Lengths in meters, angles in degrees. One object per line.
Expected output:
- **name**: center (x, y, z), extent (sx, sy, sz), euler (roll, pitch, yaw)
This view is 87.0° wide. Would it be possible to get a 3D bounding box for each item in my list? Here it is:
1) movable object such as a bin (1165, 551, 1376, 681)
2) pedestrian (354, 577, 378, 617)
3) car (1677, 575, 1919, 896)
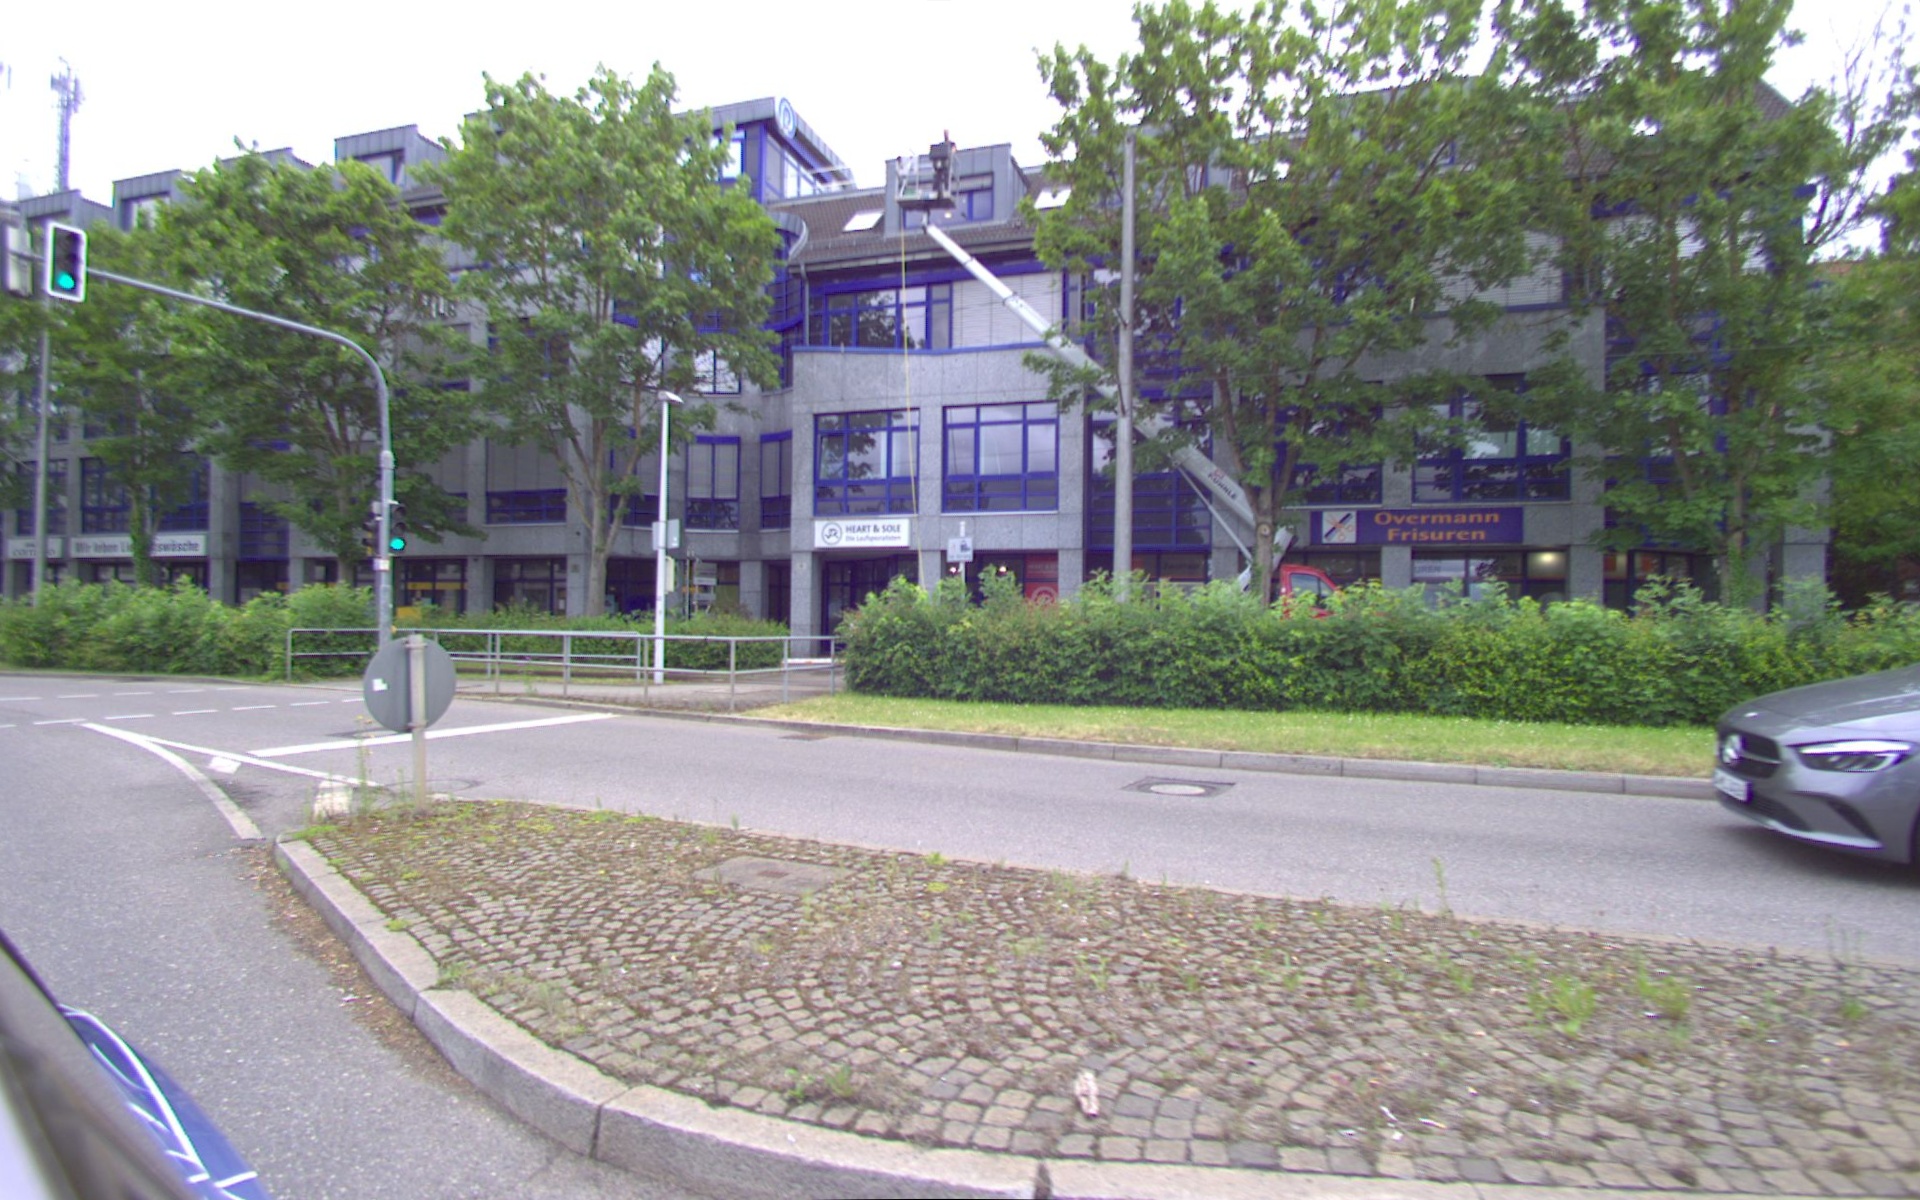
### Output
- **movable object such as a bin**: center (6.528, 0.320, 21.467), extent (4.093, 2.550, 1.900), euler (0, 0, 18)
- **pedestrian**: center (-20.200, -0.090, 34.422), extent (0.553, 1.344, 0.364), euler (0, 2, 14)
- **car**: center (6.516, 0.636, 5.114), extent (4.363, 1.549, 1.777), euler (0, 0, 21)
